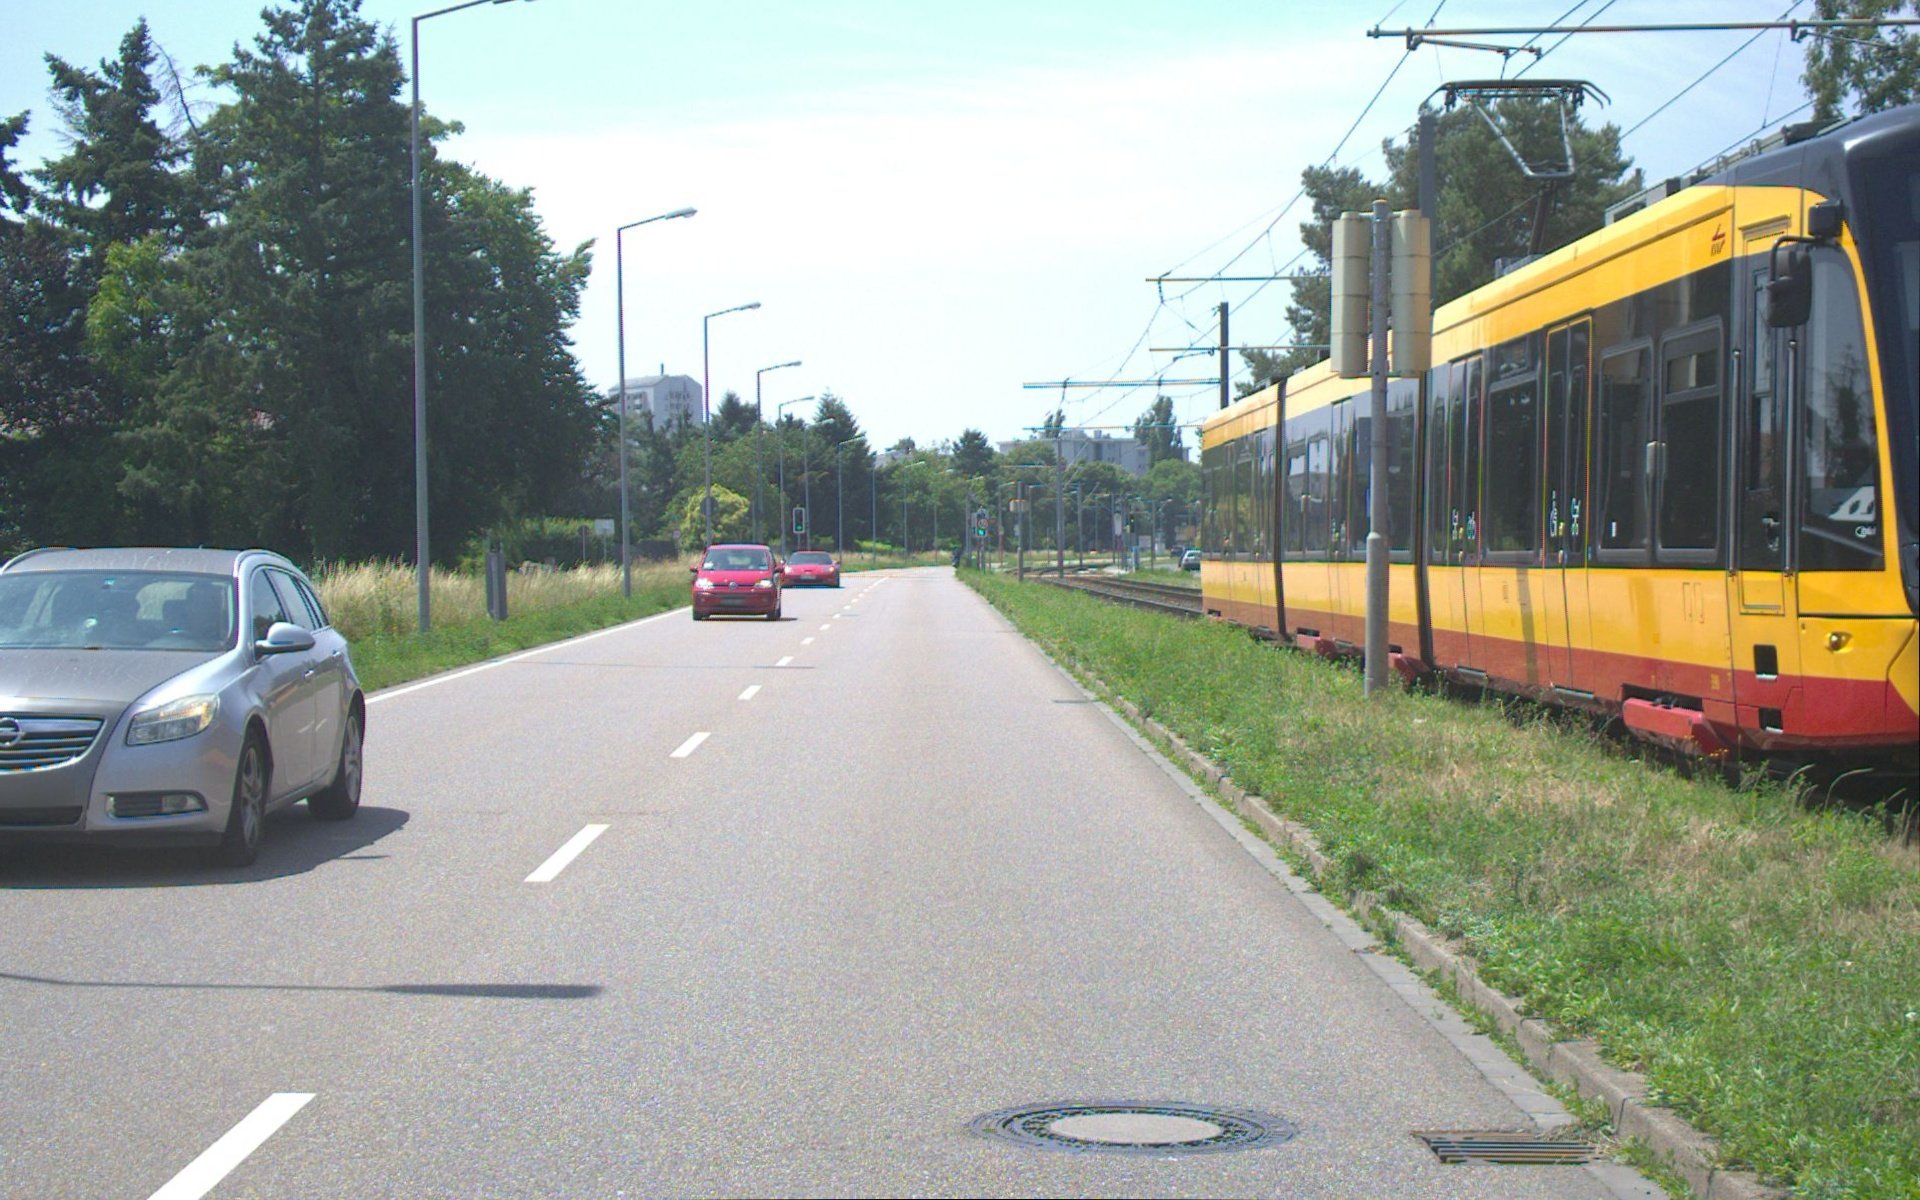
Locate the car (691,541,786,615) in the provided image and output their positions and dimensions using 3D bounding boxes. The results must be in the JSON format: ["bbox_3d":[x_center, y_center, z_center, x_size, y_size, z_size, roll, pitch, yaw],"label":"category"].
[{"bbox_3d":[-4.335,-0.420,67.680,1.645,1.395,3.844,-1,0,-1],"label":"car"}]

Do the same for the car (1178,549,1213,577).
[{"bbox_3d":[15.011,-2.350,218.940,1.915,1.656,4.000,-1,0,0],"label":"car"}]

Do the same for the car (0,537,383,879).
[{"bbox_3d":[-4.171,0.478,17.150,1.834,1.462,4.678,-1,0,-1],"label":"car"}]

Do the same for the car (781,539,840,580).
[{"bbox_3d":[-4.998,-1.342,115.324,1.807,1.281,4.286,-1,0,-1],"label":"car"}]

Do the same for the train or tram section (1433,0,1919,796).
[{"bbox_3d":[5.016,-1.031,21.054,2.429,3.753,11.559,-1,0,-1],"label":"train or tram section"}]

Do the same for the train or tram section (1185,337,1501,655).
[{"bbox_3d":[4.865,-1.226,45.949,2.765,3.677,11.186,-1,0,-1],"label":"train or tram section"}]

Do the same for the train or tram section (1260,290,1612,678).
[{"bbox_3d":[4.950,-1.138,36.993,2.701,3.753,6.729,-1,0,-1],"label":"train or tram section"}]

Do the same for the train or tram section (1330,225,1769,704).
[{"bbox_3d":[4.969,-1.061,30.246,2.560,3.701,6.729,-1,0,-1],"label":"train or tram section"}]
